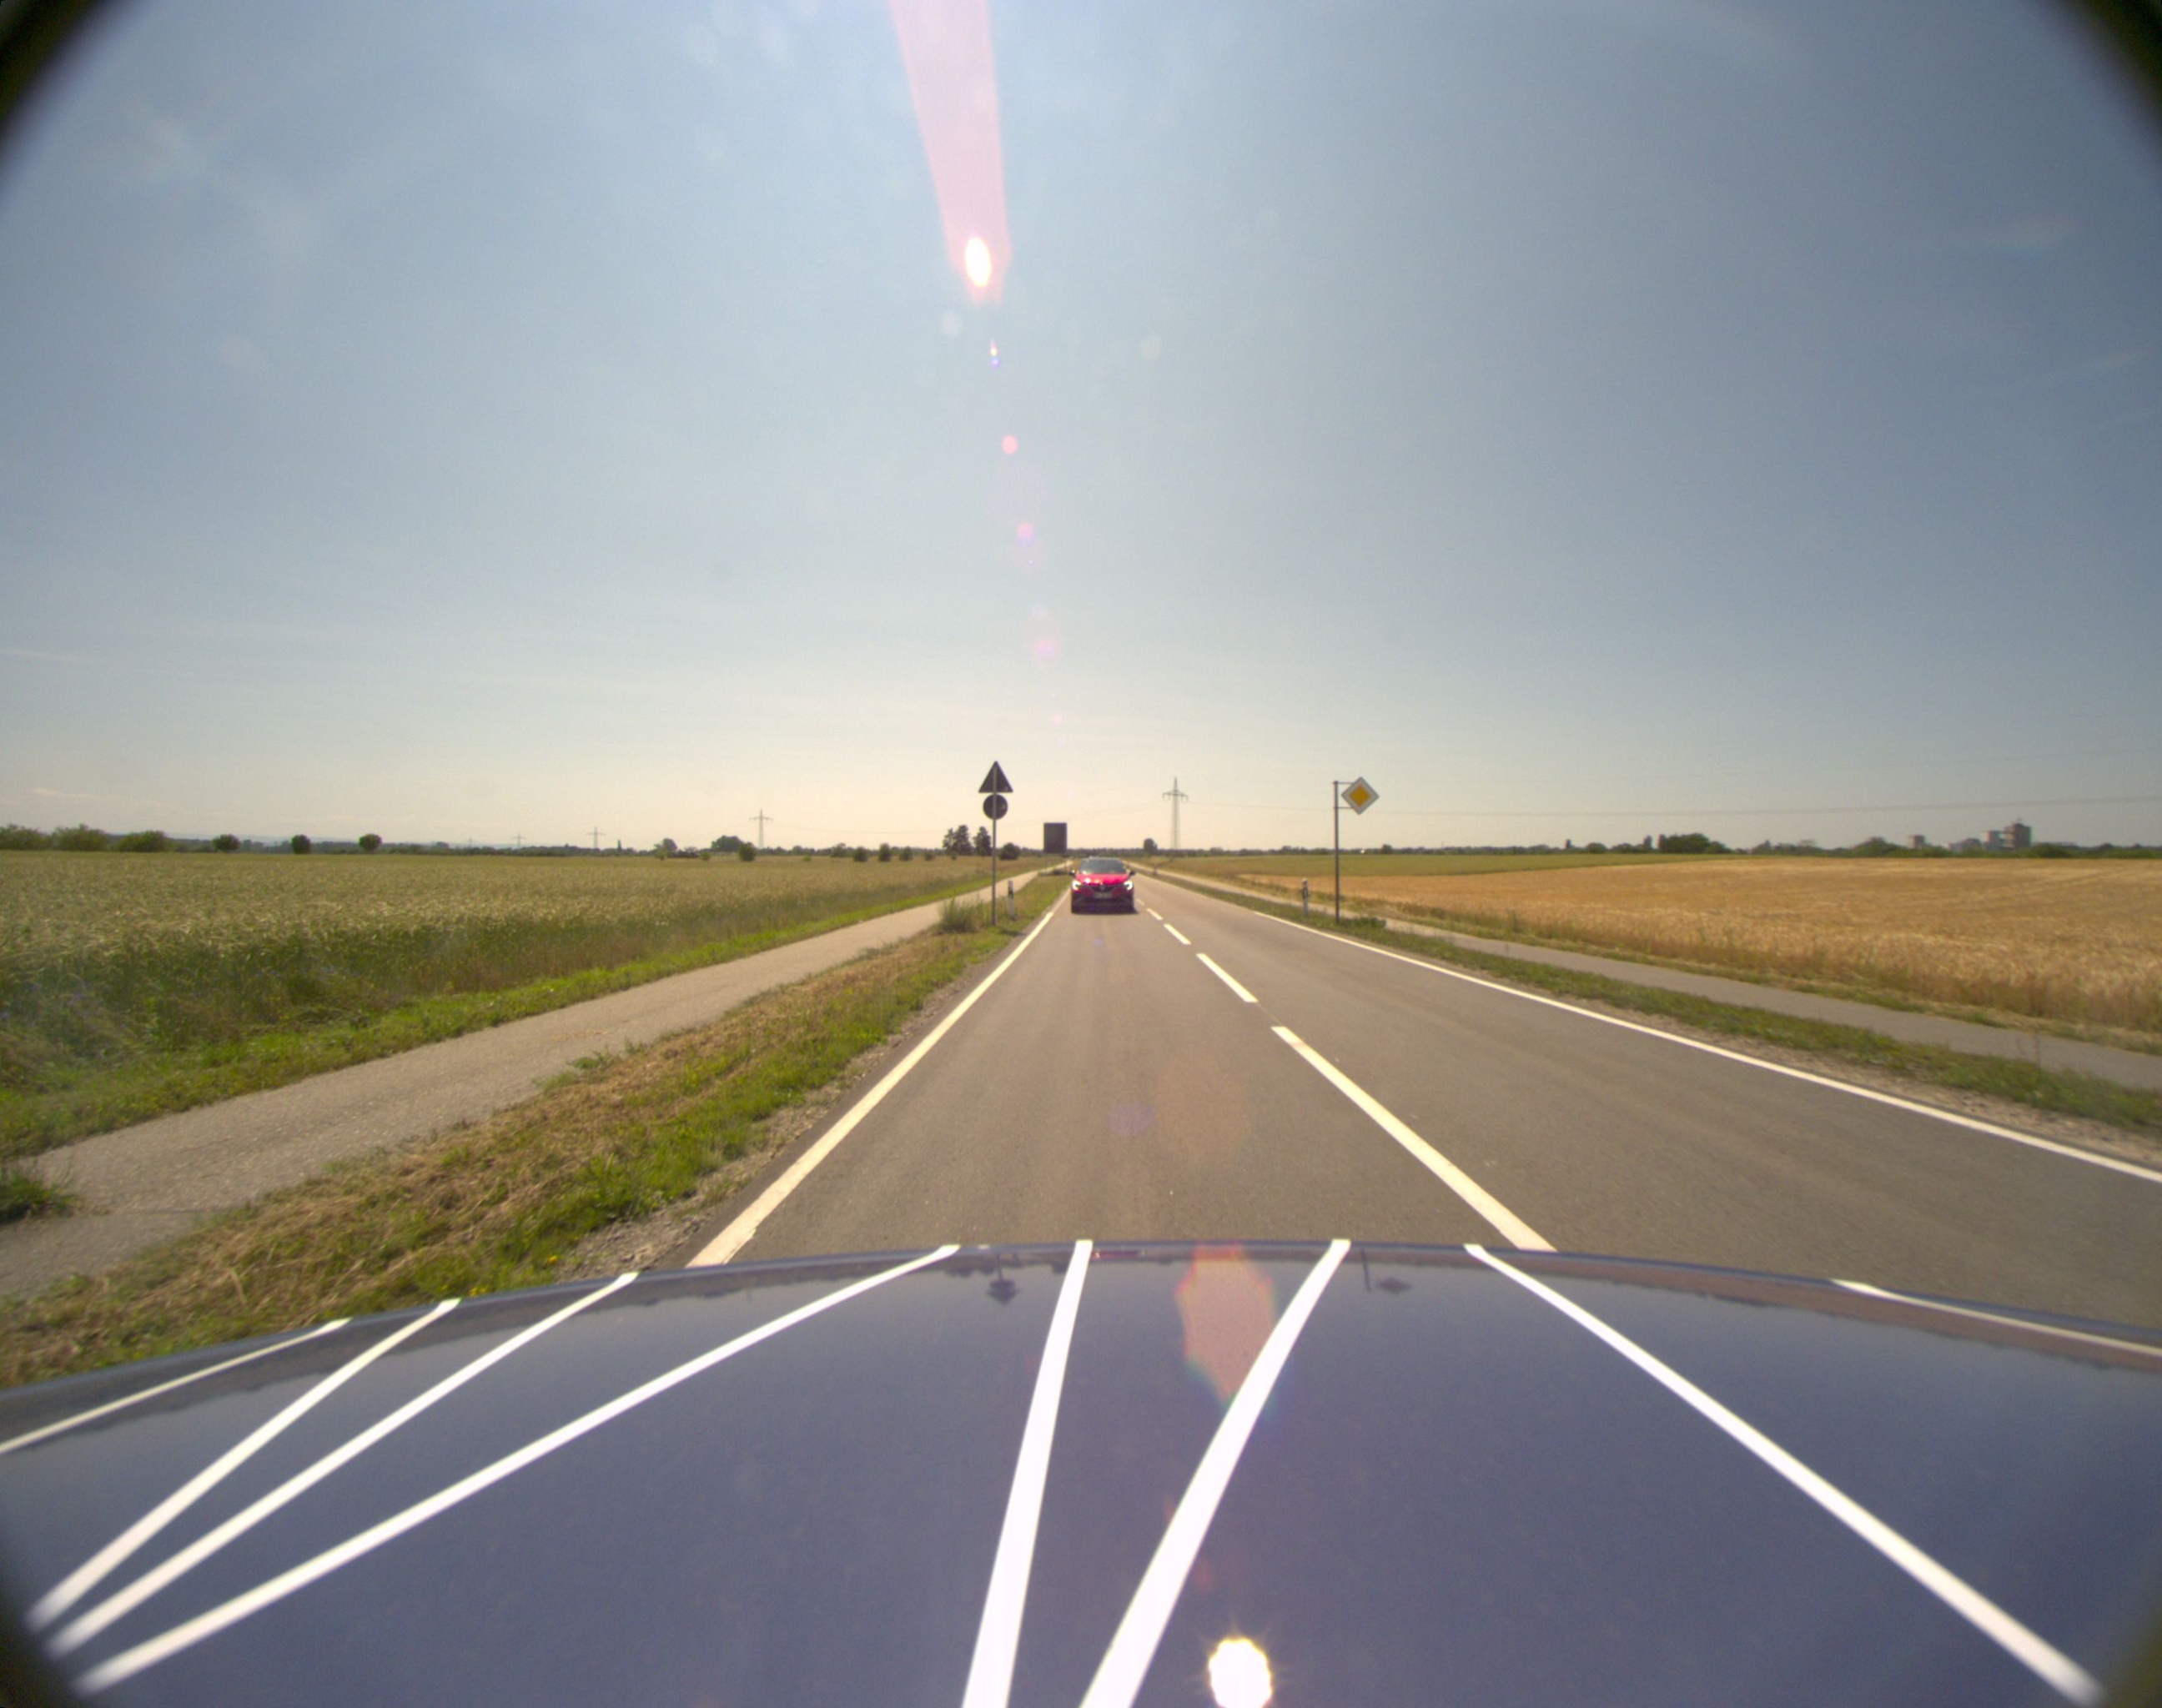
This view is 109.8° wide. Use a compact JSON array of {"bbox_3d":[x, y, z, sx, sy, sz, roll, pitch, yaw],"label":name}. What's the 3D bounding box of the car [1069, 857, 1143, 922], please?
[{"bbox_3d":[0.630,0.914,21.505,1.827,1.543,4.449,-2,0,0],"label":"car"}]
